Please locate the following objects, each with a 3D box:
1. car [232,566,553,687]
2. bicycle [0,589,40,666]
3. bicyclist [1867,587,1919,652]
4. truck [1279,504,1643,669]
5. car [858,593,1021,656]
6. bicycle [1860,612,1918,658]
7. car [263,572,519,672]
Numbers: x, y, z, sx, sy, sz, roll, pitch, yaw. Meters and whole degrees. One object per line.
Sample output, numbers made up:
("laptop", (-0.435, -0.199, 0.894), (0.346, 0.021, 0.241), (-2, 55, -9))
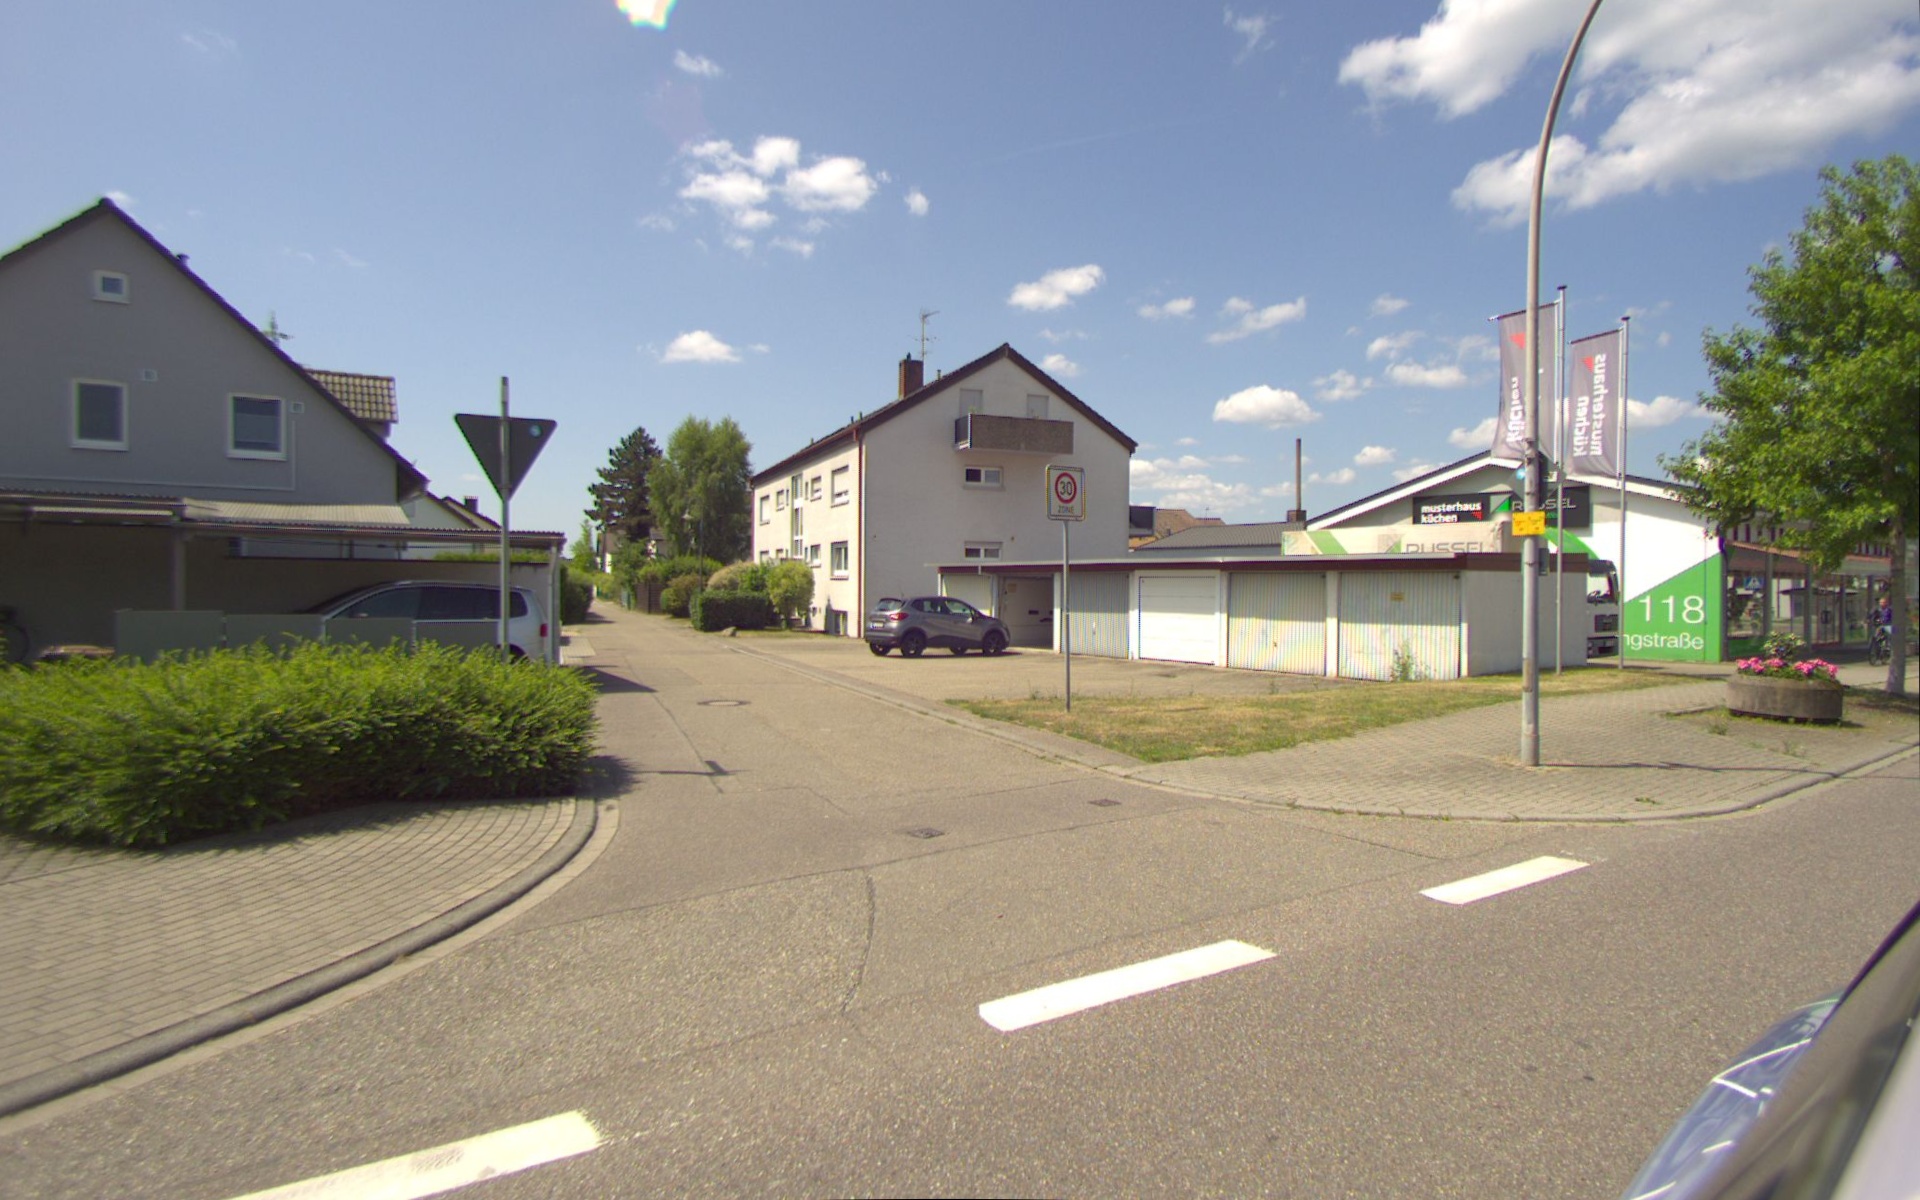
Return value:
("car", (-8.778, 0.417, 15.859), (4.133, 1.669, 1.743), (3, 0, -34))
("bicycle", (-15.622, 0.407, 15.663), (1.914, 1.187, 0.650), (3, -1, -33))
("bicyclist", (24.485, 0.526, 26.544), (1.091, 1.651, 0.805), (2, -3, -38))
("truck", (12.618, -0.333, 26.378), (2.628, 3.617, 8.193), (-1, 1, -37))
("car", (-0.489, 0.596, 26.589), (4.053, 1.522, 1.680), (0, 0, -36))
("bicycle", (24.436, 0.921, 26.615), (1.907, 1.180, 0.805), (2, -3, -38))
("car", (-10.089, 0.401, 18.059), (3.778, 1.607, 1.743), (3, 0, -34))
